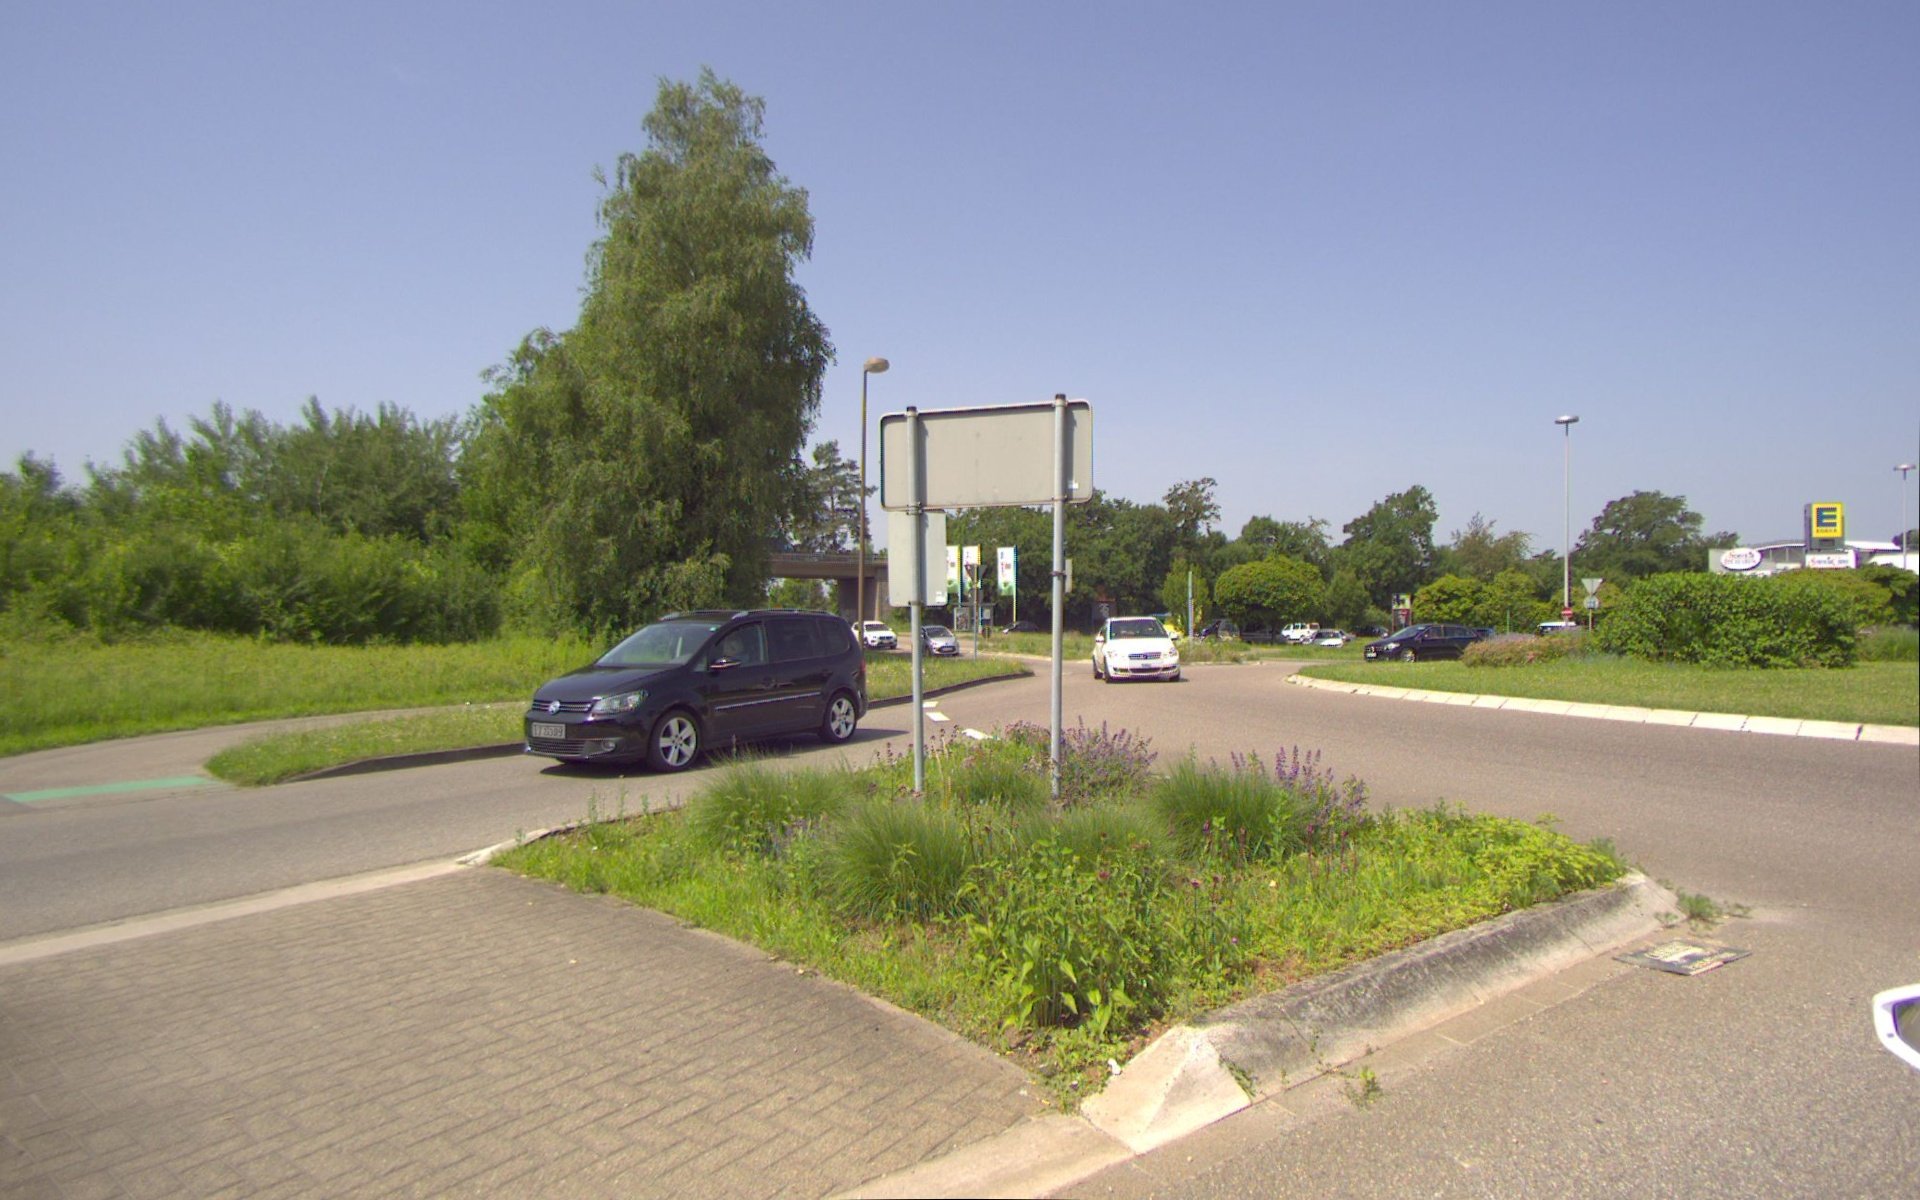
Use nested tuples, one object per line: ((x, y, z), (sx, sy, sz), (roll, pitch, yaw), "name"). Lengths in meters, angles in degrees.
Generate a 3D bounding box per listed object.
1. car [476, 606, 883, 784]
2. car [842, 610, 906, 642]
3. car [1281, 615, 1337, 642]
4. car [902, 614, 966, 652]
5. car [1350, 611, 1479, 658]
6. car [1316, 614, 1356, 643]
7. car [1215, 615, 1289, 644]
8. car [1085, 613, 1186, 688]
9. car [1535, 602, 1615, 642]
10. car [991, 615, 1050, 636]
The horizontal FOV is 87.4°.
((-2.961, 0.935, 11.525), (1.880, 1.616, 4.362), (-2, -2, 33), "car")
((-5.237, 1.529, 60.388), (2.169, 1.674, 5.087), (1, 0, -26), "car")
((21.289, 1.743, 61.315), (1.575, 1.517, 2.798), (2, 0, -44), "car")
((-1.364, 1.599, 50.080), (2.095, 1.638, 4.181), (-1, 2, -18), "car")
((16.332, 1.236, 36.096), (4.148, 1.550, 1.750), (-1, -2, -20), "car")
((21.053, 1.571, 56.358), (1.553, 1.517, 4.568), (2, 0, 14), "car")
((17.609, 1.778, 60.487), (4.358, 1.582, 1.860), (2, 0, -32), "car")
((4.262, 1.183, 24.948), (1.752, 1.625, 3.892), (-1, 1, -1), "car")
((33.574, 1.205, 54.836), (3.942, 2.040, 1.684), (2, 0, -22), "car")
((5.125, 2.171, 84.615), (4.582, 1.674, 2.014), (1, 0, -29), "car")
